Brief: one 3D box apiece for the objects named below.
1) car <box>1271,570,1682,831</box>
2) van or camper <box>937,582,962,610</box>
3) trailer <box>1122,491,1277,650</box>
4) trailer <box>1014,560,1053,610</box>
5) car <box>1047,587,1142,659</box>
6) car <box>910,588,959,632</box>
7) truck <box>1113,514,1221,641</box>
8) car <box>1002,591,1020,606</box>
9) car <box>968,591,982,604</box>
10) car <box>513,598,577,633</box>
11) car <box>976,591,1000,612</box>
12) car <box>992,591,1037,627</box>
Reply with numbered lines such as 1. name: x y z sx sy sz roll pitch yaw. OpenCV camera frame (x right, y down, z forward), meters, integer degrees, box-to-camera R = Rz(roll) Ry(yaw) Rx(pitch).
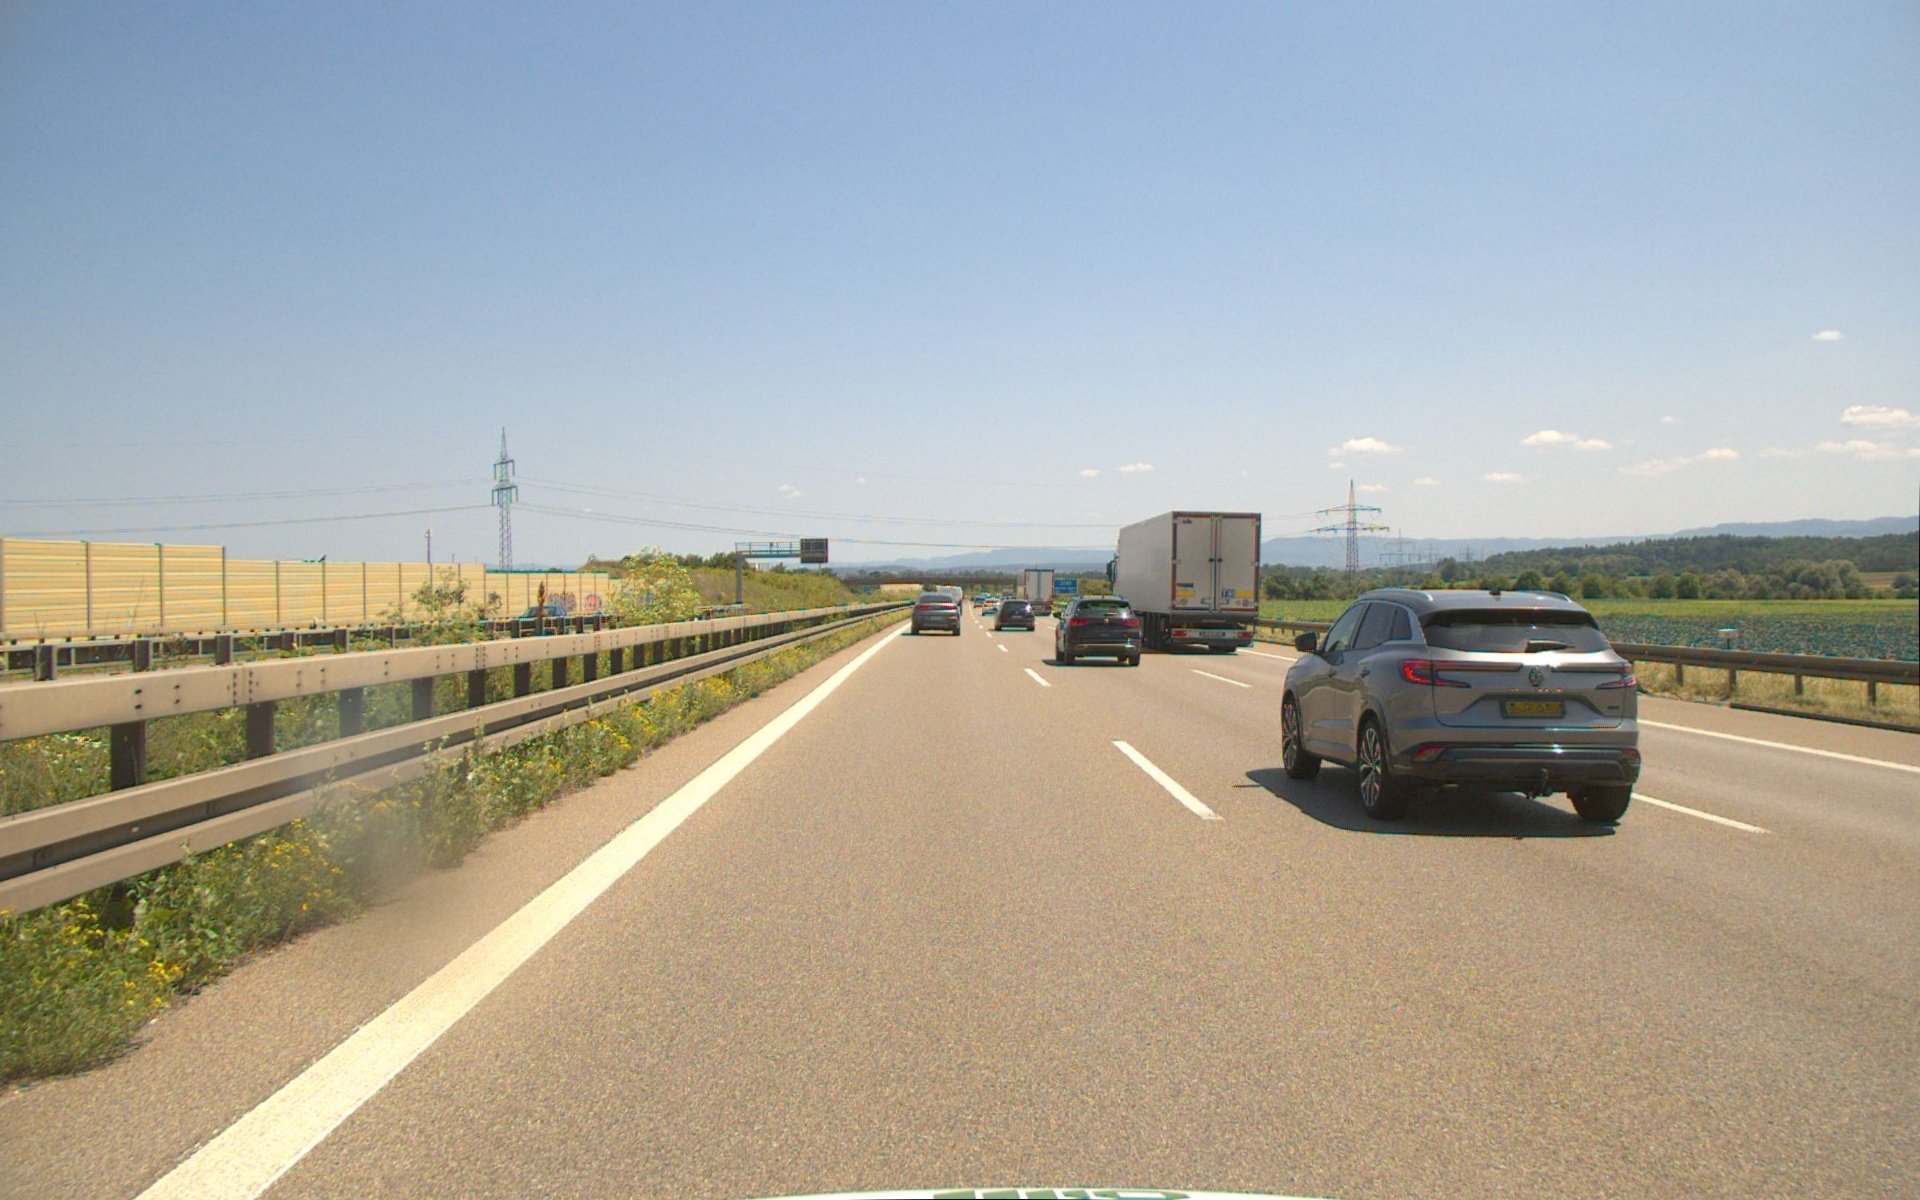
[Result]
1. car: 3.777 0.640 13.017 1.813 1.677 4.645 0 0 0
2. van or camper: -0.860 -0.306 139.617 2.067 2.250 5.265 1 0 0
3. trailer: 7.217 -0.784 51.998 2.809 4.294 13.293 1 0 0
4. trailer: 6.549 -1.247 149.004 2.883 4.271 13.596 1 0 0
5. car: 3.143 0.528 39.316 1.761 1.589 3.821 1 0 -3
6. car: -1.052 0.388 66.335 1.814 1.693 3.733 1 0 -3
7. truck: 7.161 -0.731 58.087 2.804 4.163 6.878 1 0 -1
8. car: 5.851 -0.139 189.598 1.952 1.712 4.000 1 0 0
9. car: 2.020 -0.363 225.179 1.952 1.712 4.000 1 0 0
10. car: -17.873 0.643 71.425 1.683 1.434 4.483 1 0 -1
11. car: 2.343 0.131 140.342 1.952 1.712 4.000 1 0 0
12. car: 2.533 0.405 77.957 1.893 1.602 4.934 1 0 0
